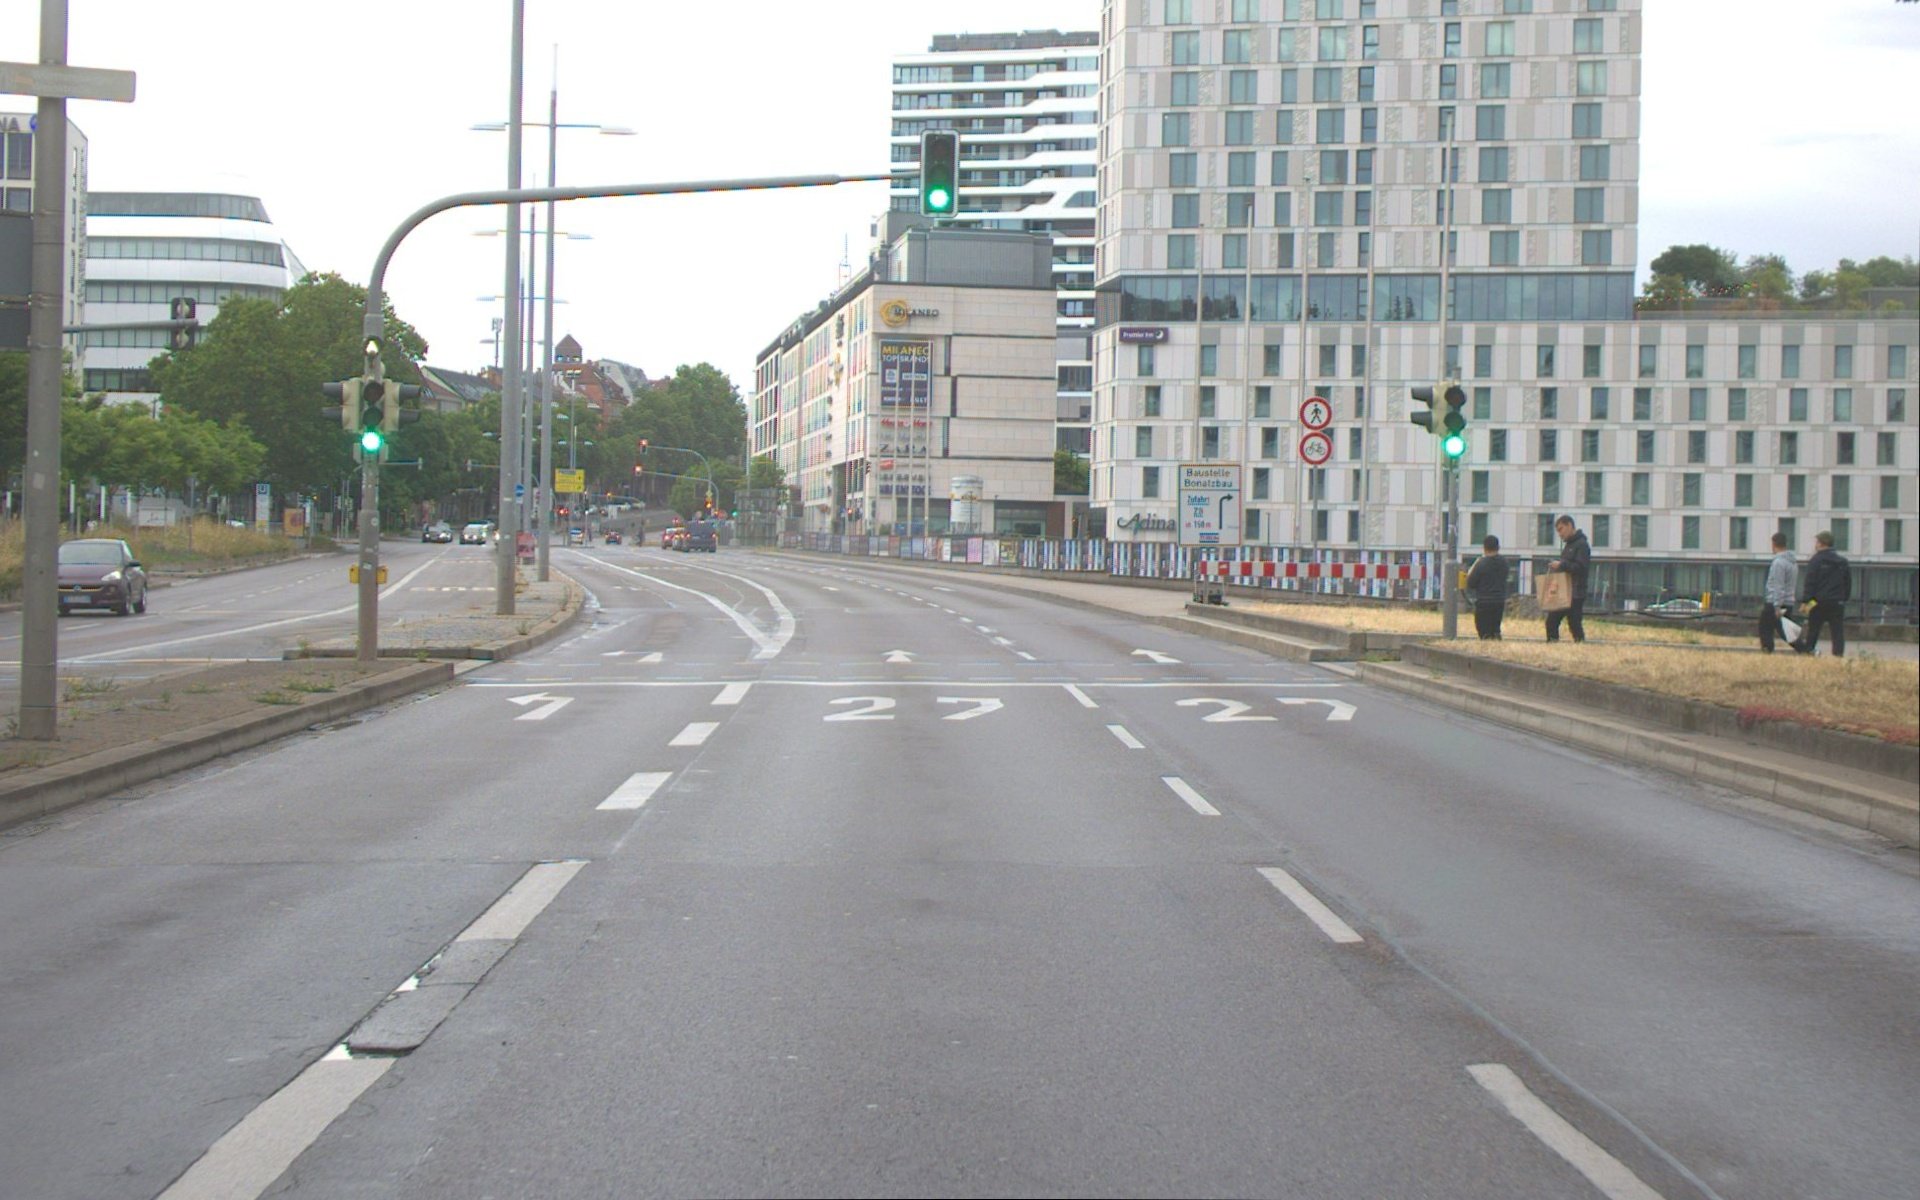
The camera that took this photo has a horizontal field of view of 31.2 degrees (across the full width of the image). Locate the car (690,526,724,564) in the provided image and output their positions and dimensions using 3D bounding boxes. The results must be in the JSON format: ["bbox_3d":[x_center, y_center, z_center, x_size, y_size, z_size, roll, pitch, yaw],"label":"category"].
[{"bbox_3d":[-15.820,-3.441,214.983,1.993,2.335,4.000,0,1,-2],"label":"car"}]

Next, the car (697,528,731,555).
[{"bbox_3d":[-17.445,-4.151,244.146,1.993,1.809,4.000,0,2,2],"label":"car"}]

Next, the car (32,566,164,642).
[{"bbox_3d":[-16.744,0.064,66.940,1.748,1.403,3.725,0,1,-2],"label":"car"}]

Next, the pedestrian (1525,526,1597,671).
[{"bbox_3d":[6.668,-0.021,38.128,0.550,1.572,0.669,2,3,33],"label":"pedestrian"}]

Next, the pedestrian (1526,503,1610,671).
[{"bbox_3d":[6.752,-0.153,38.191,0.781,1.835,0.551,-2,3,-44],"label":"pedestrian"}]

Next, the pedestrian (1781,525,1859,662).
[{"bbox_3d":[10.126,-0.090,40.485,0.670,1.572,0.667,2,3,37],"label":"pedestrian"}]

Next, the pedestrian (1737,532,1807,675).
[{"bbox_3d":[9.146,0.029,38.726,0.550,1.572,0.669,2,3,33],"label":"pedestrian"}]
